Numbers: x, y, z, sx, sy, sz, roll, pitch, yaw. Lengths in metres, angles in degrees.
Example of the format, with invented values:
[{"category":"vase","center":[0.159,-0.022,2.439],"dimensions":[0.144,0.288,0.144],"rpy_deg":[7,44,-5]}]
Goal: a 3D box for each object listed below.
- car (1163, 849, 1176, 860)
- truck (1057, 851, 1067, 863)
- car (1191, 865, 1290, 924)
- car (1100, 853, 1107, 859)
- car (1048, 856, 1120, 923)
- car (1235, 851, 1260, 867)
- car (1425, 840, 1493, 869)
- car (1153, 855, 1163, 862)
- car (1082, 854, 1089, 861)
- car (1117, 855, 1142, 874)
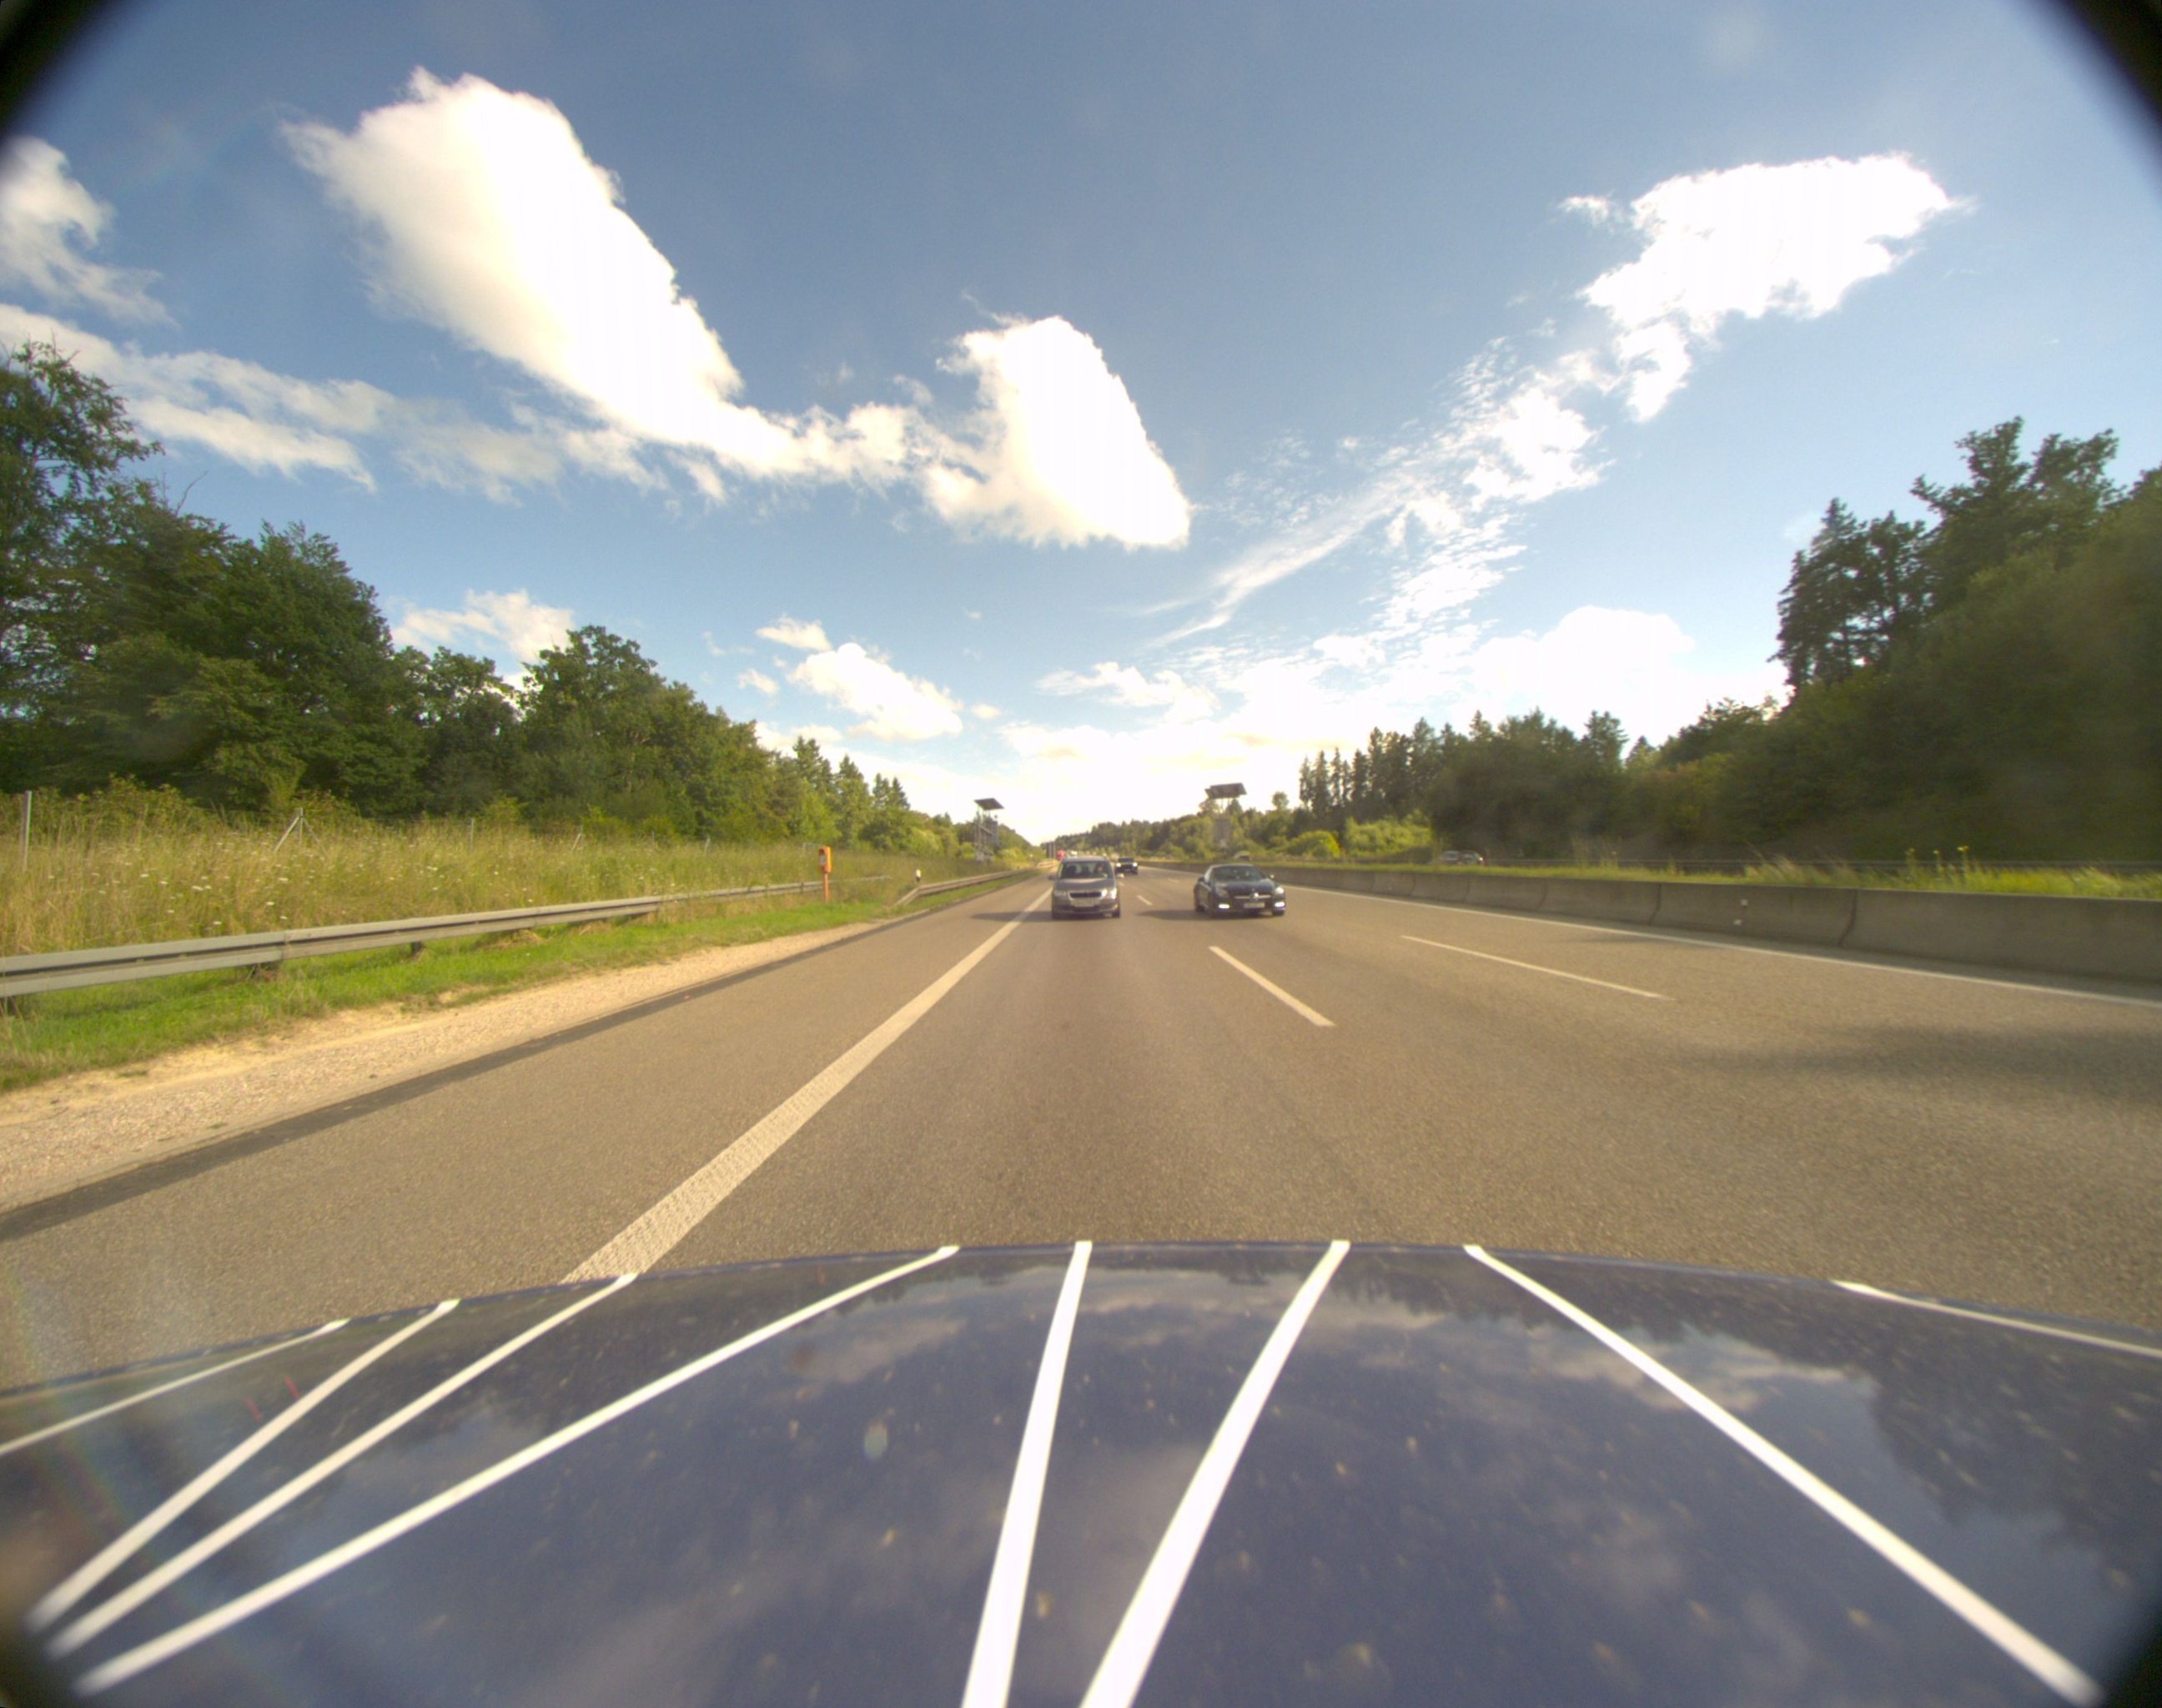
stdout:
[{"category":"car","center":[16.830,0.179,144.950],"dimensions":[1.998,2.002,4.071],"rpy_deg":[-2,0,0]},{"category":"truck","center":[-6.501,1.105,260.474],"dimensions":[2.880,3.871,8.958],"rpy_deg":[-2,0,0]},{"category":"car","center":[4.020,0.970,19.831],"dimensions":[1.749,1.276,4.199],"rpy_deg":[-2,0,1]},{"category":"car","center":[7.303,0.729,244.194],"dimensions":[1.998,1.772,4.000],"rpy_deg":[-2,0,1]},{"category":"car","center":[0.110,0.889,20.859],"dimensions":[1.742,1.608,4.083],"rpy_deg":[-2,0,1]},{"category":"car","center":[20.226,0.604,92.671],"dimensions":[1.998,1.870,4.437],"rpy_deg":[-2,0,0]},{"category":"car","center":[23.343,0.042,47.100],"dimensions":[1.884,1.618,4.570],"rpy_deg":[-2,0,0]},{"category":"car","center":[20.292,1.112,200.042],"dimensions":[1.931,1.894,4.429],"rpy_deg":[-2,0,0]},{"category":"car","center":[1.244,1.043,202.525],"dimensions":[1.938,1.772,4.236],"rpy_deg":[-2,0,1]},{"category":"car","center":[4.416,0.924,69.702],"dimensions":[1.961,1.608,4.387],"rpy_deg":[-2,0,1]}]
